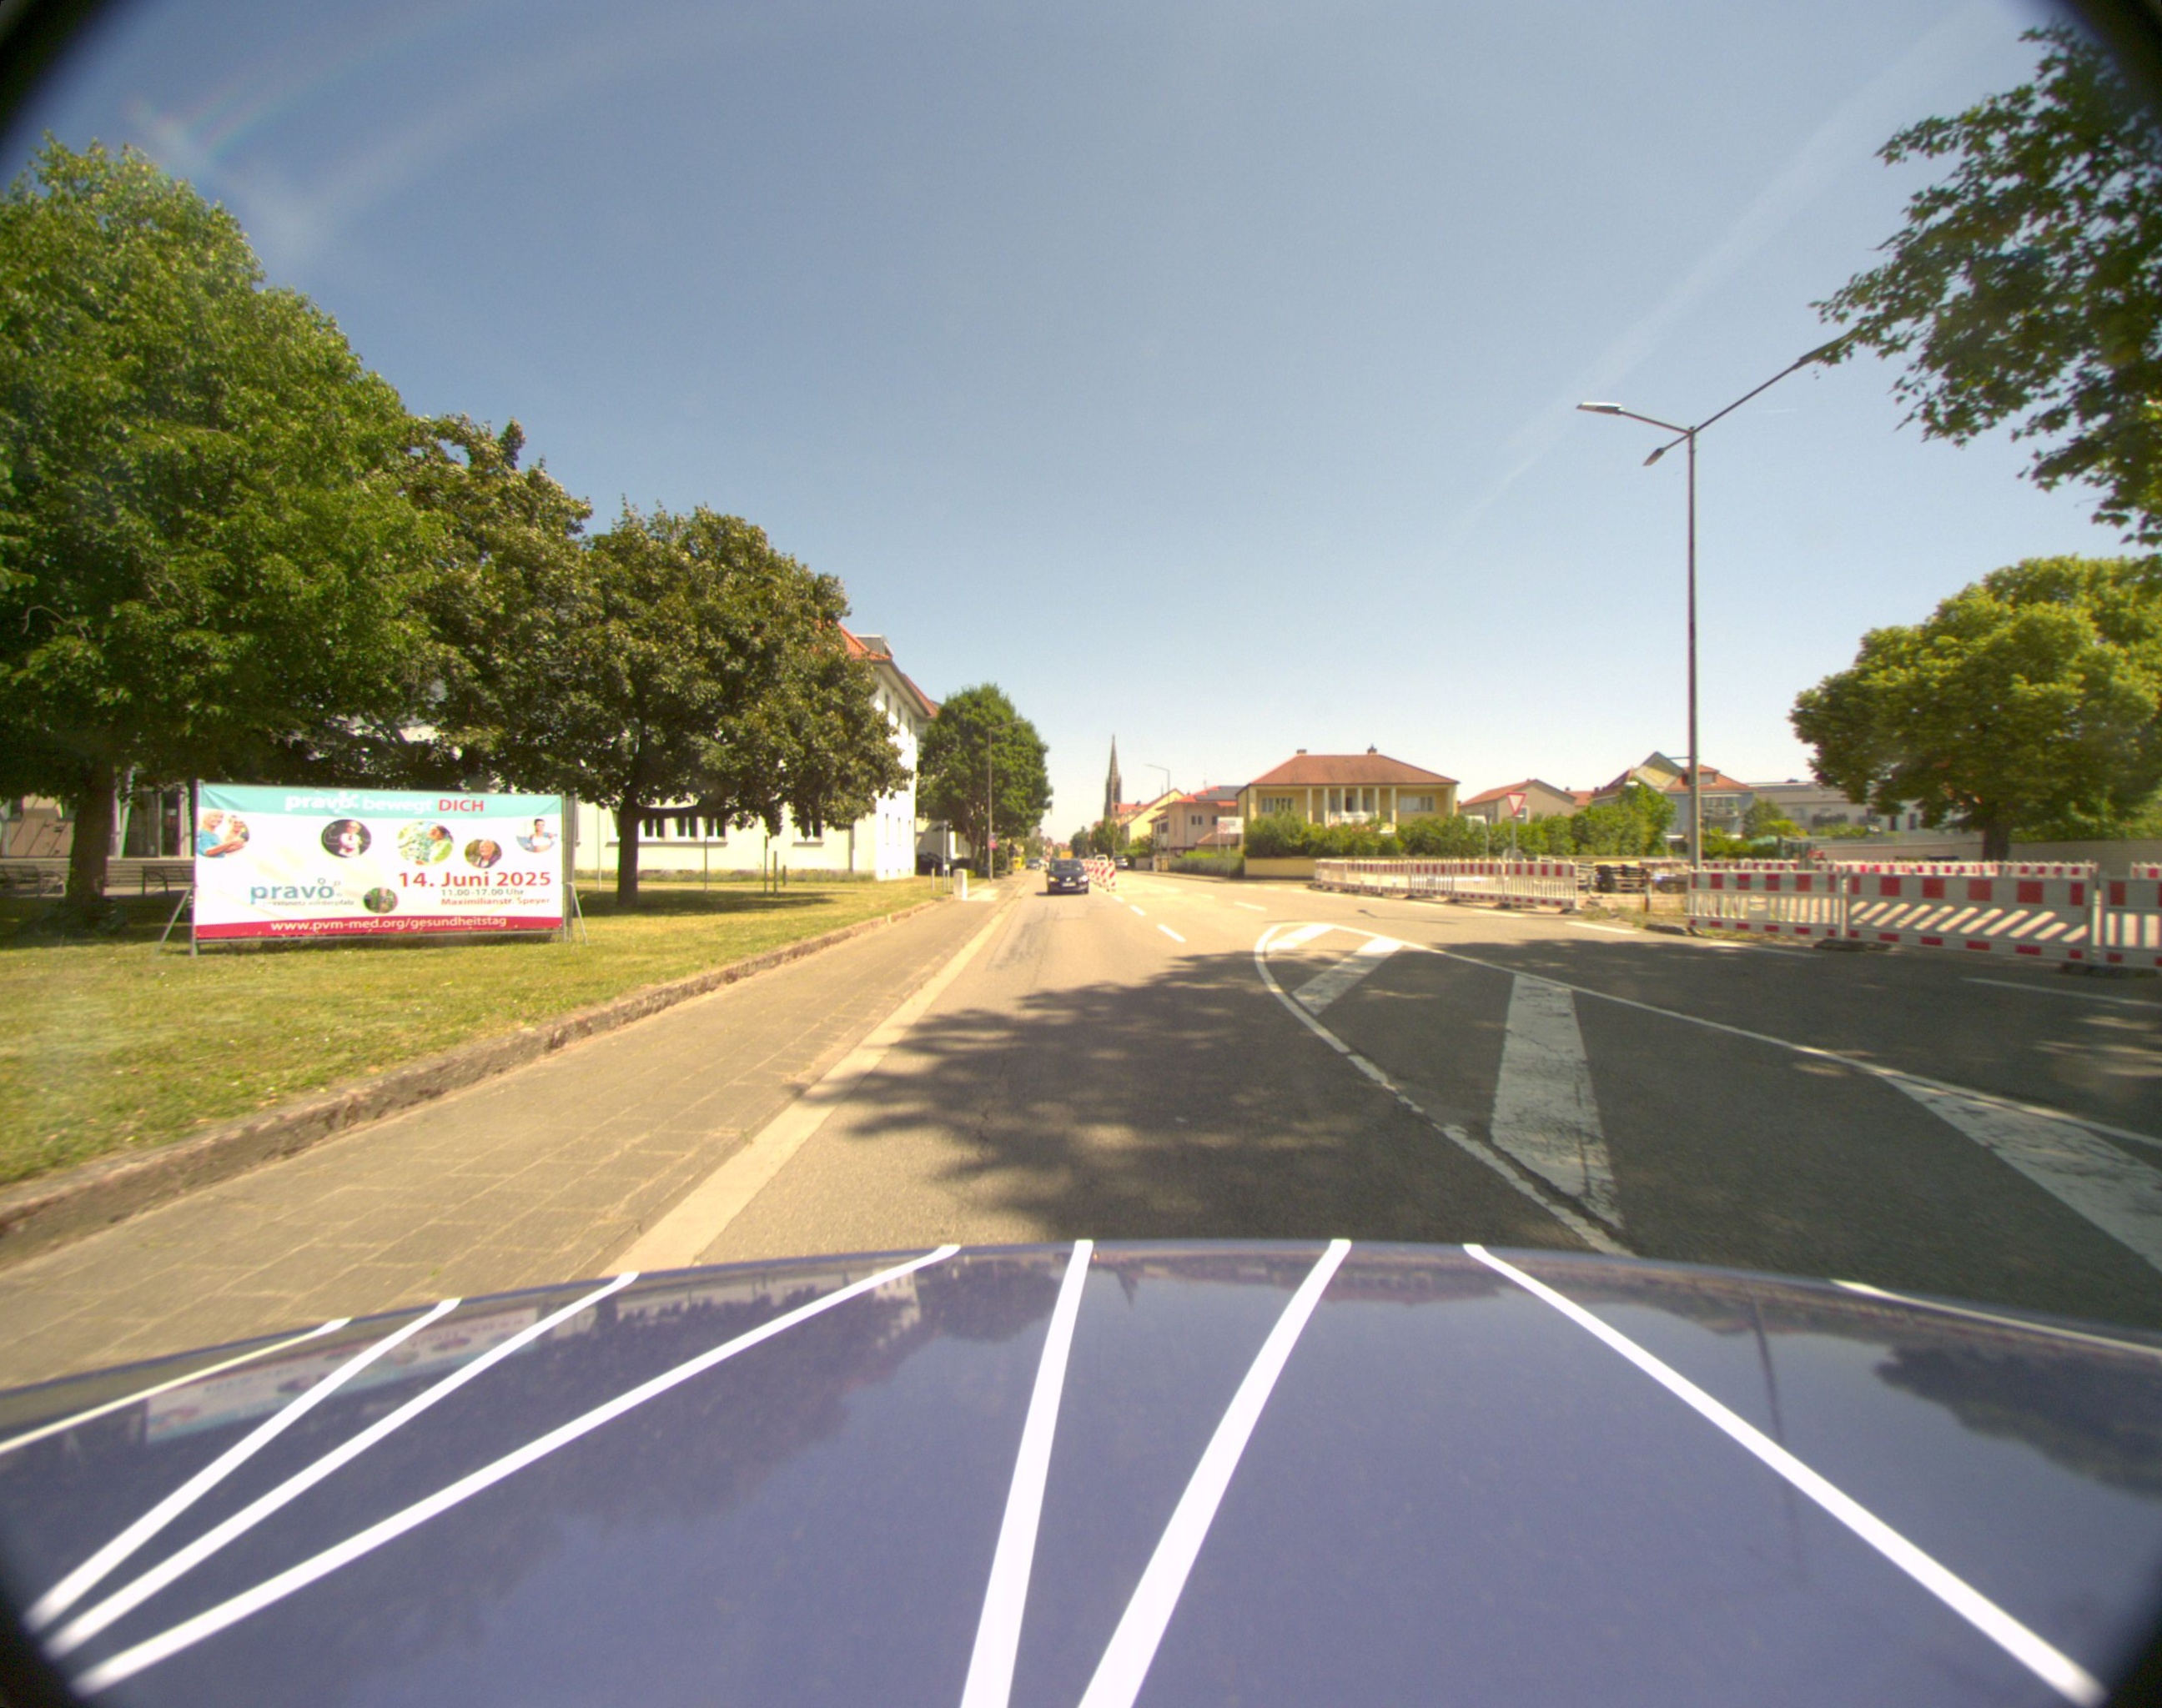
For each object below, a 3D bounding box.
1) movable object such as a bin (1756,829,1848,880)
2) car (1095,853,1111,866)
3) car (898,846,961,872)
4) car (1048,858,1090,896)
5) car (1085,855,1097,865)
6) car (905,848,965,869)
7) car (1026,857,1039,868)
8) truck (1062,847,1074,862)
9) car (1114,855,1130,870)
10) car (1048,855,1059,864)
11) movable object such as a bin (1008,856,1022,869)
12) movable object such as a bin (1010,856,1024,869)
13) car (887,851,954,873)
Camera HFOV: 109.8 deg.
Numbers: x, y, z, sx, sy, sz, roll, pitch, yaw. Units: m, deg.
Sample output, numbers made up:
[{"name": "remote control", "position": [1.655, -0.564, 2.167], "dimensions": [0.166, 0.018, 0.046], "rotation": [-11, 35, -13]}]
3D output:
[{"name": "movable object such as a bin", "position": [40.665, 0.034, 42.976], "dimensions": [2.273, 2.719, 3.936], "rotation": [0, 0, 18]}, {"name": "car", "position": [2.961, 0.730, 101.689], "dimensions": [1.719, 1.776, 3.888], "rotation": [0, 0, -4]}, {"name": "car", "position": [-11.180, 0.363, 56.358], "dimensions": [4.368, 1.776, 1.999], "rotation": [2, 0, -5]}, {"name": "car", "position": [-0.481, 0.904, 31.570], "dimensions": [1.607, 1.436, 3.909], "rotation": [-1, 0, -1]}, {"name": "car", "position": [1.602, 0.955, 120.610], "dimensions": [1.625, 1.595, 3.512], "rotation": [0, 0, -4]}, {"name": "car", "position": [-11.439, 0.375, 59.724], "dimensions": [4.368, 1.517, 1.999], "rotation": [2, 0, -5]}, {"name": "car", "position": [-6.206, 1.087, 97.211], "dimensions": [1.607, 1.403, 3.908], "rotation": [-1, 0, -3]}, {"name": "truck", "position": [-2.784, 0.097, 160.954], "dimensions": [2.223, 2.920, 5.349], "rotation": [0, 0, -4]}, {"name": "car", "position": [4.390, 0.865, 81.608], "dimensions": [1.390, 1.568, 3.320], "rotation": [0, 0, -4]}, {"name": "car", "position": [-4.565, 0.864, 126.085], "dimensions": [1.712, 1.449, 3.562], "rotation": [0, 0, -6]}, {"name": "movable object such as a bin", "position": [-7.547, 0.939, 87.088], "dimensions": [1.500, 1.472, 1.422], "rotation": [0, 0, -4]}, {"name": "movable object such as a bin", "position": [-7.475, 0.952, 88.698], "dimensions": [1.500, 1.472, 1.422], "rotation": [0, 0, -4]}, {"name": "car", "position": [-11.244, 0.557, 53.580], "dimensions": [4.368, 1.427, 1.999], "rotation": [2, 0, -5]}]
